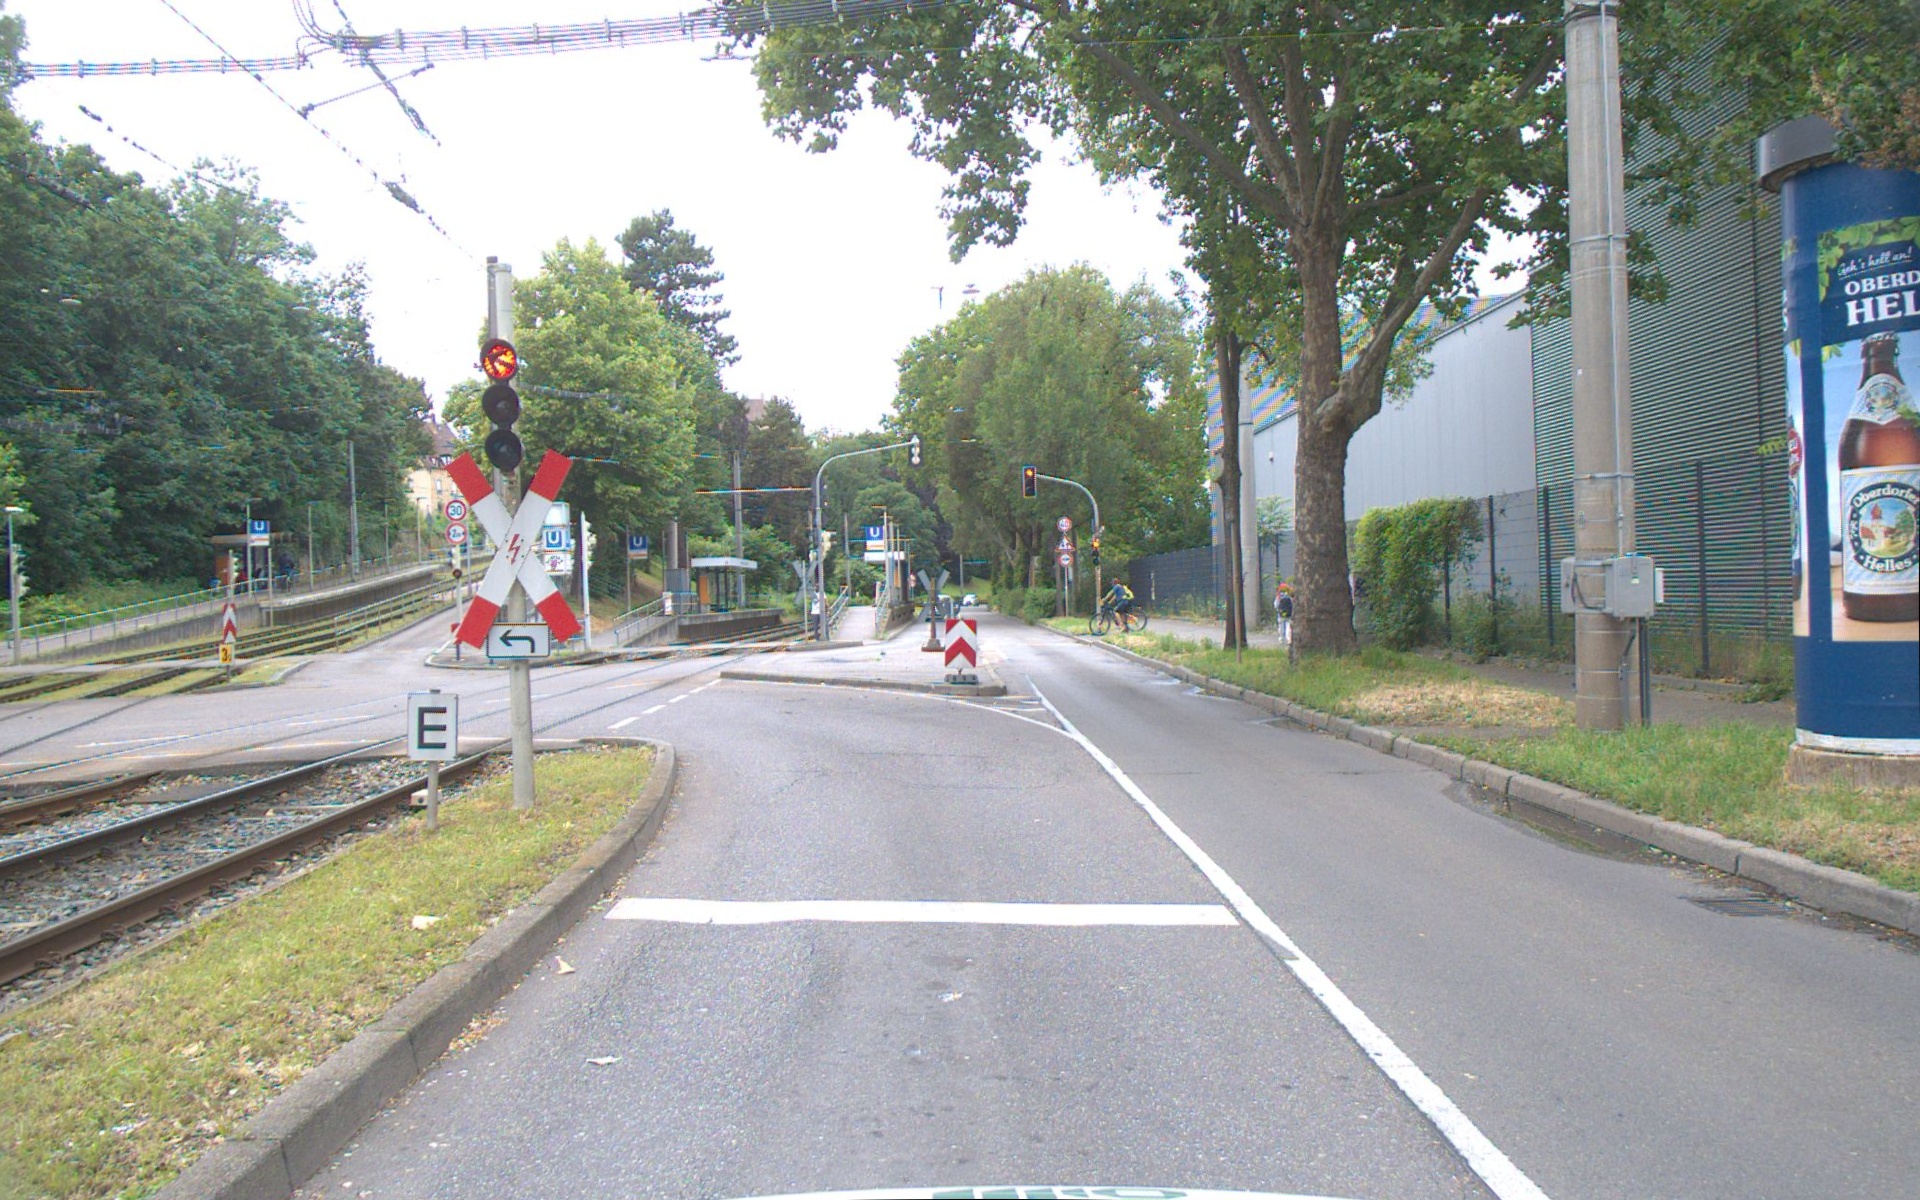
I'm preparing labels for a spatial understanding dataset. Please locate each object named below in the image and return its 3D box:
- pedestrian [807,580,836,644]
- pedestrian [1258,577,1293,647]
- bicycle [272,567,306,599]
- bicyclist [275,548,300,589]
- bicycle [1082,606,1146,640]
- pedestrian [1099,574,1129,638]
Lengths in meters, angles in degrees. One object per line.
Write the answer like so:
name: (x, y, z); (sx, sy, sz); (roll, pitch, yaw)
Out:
pedestrian: (-4.202, 0.351, 50.079); (0.754, 1.885, 0.908); (-2, 0, -9)
pedestrian: (7.349, 0.274, 38.513); (0.652, 1.580, 0.935); (-2, 0, 5)
bicycle: (-32.210, -0.846, 79.458); (0.809, 1.366, 2.991); (-2, 3, -9)
bicyclist: (-32.212, -1.523, 79.243); (0.806, 1.881, 1.050); (-2, 3, -9)
bicycle: (5.007, 0.744, 53.899); (2.031, 1.024, 0.668); (-2, 0, 5)
pedestrian: (5.016, 0.201, 53.946); (0.911, 2.049, 0.668); (-2, 0, 5)
